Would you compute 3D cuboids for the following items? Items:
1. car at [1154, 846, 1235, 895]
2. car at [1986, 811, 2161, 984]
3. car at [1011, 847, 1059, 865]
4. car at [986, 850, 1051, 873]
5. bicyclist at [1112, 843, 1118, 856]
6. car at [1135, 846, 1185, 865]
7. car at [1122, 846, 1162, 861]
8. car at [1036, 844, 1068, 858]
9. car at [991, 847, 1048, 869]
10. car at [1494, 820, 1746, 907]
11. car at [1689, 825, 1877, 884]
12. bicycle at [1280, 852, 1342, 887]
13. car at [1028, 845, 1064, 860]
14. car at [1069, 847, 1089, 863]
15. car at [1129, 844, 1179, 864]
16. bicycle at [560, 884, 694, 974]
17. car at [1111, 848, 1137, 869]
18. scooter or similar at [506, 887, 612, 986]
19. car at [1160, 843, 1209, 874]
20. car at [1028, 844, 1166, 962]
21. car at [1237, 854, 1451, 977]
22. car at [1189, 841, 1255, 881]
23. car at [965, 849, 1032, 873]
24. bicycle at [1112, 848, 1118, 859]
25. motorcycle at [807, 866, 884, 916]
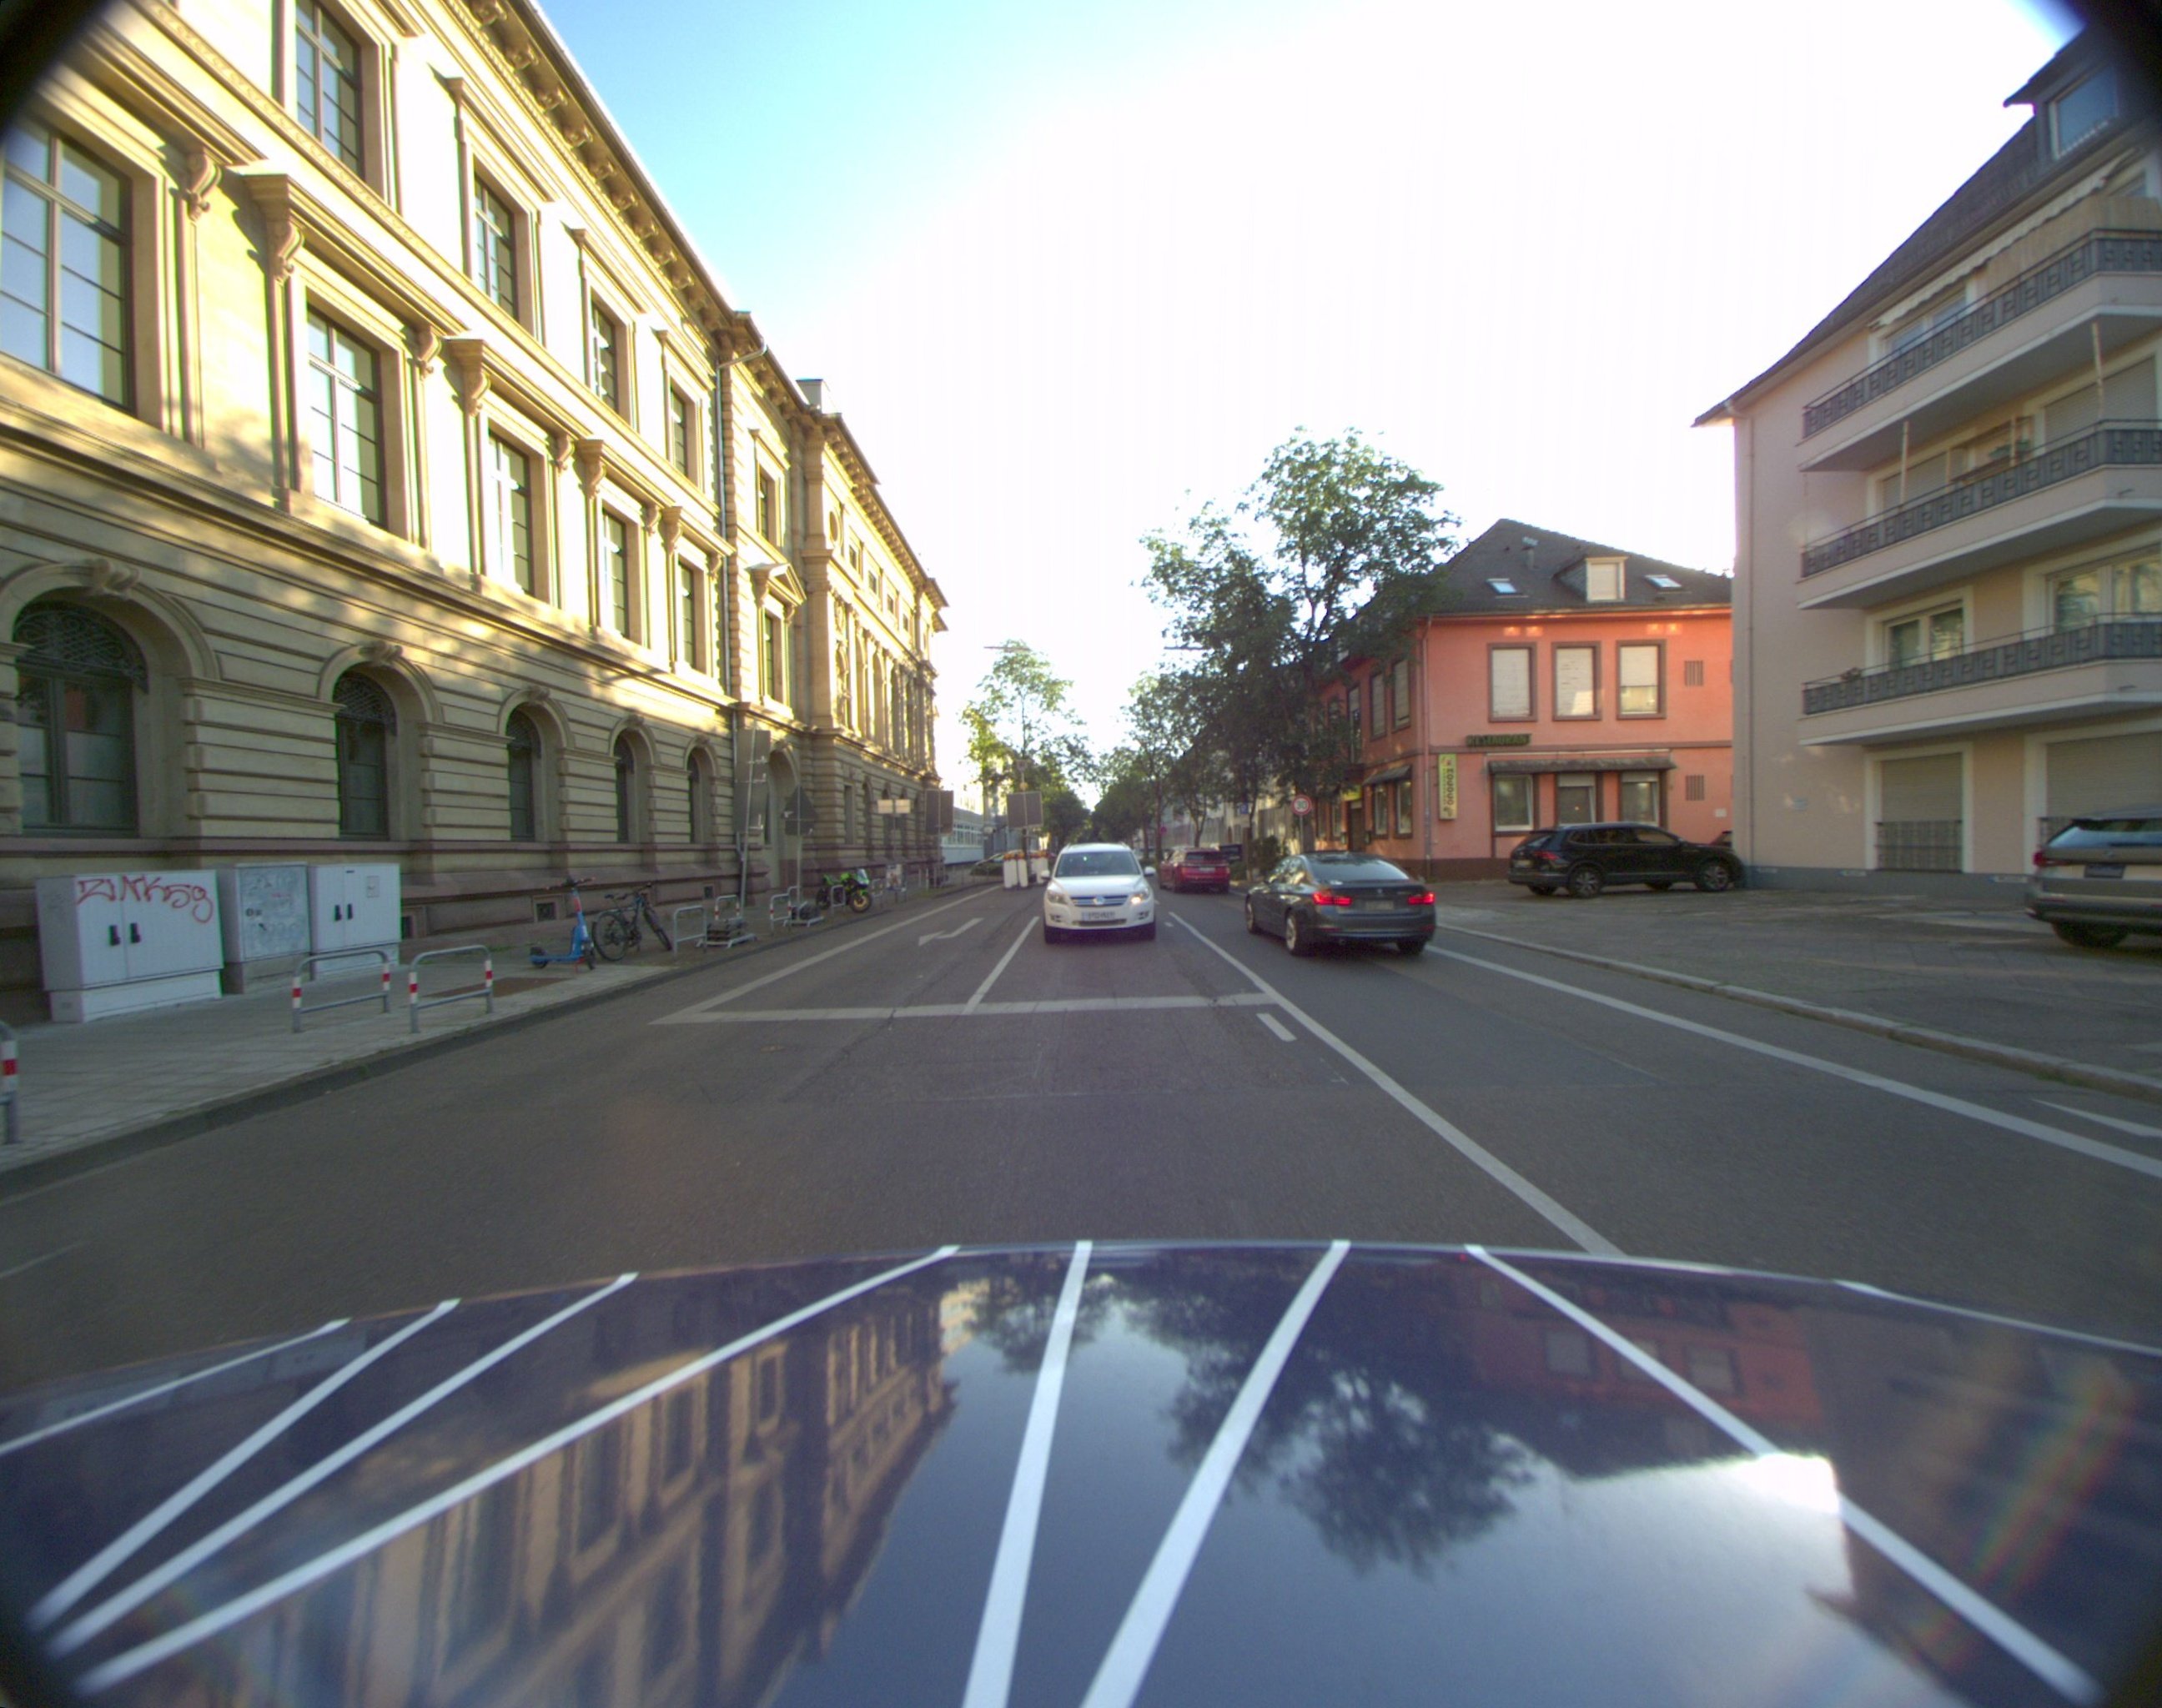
[{"bbox_3d":[3.861,0.525,26.622,1.836,1.536,4.845,0,0,-3],"label":"car"},{"bbox_3d":[12.425,0.308,7.615,4.429,1.596,1.916,-3,1,-1],"label":"car"},{"bbox_3d":[-4.269,0.169,70.466,4.369,1.615,1.733,1,1,-2],"label":"car"},{"bbox_3d":[-4.347,0.542,53.081,4.368,1.487,1.672,1,1,0],"label":"car"},{"bbox_3d":[3.660,-0.467,81.829,0.626,1.357,0.929,-1,3,1],"label":"bicyclist"},{"bbox_3d":[6.817,0.090,65.644,4.228,1.537,1.801,-1,1,3],"label":"car"},{"bbox_3d":[6.929,-0.077,86.562,4.230,1.499,1.800,-1,1,-2],"label":"car"},{"bbox_3d":[-4.062,-0.391,105.021,4.369,1.863,1.733,0,1,-2],"label":"car"},{"bbox_3d":[-4.776,0.333,59.547,4.369,1.633,2.054,1,1,-2],"label":"car"},{"bbox_3d":[12.248,0.203,17.482,4.429,1.656,1.863,-3,1,-1],"label":"car"},{"bbox_3d":[20.526,-0.002,22.330,3.809,1.547,1.886,-2,1,-2],"label":"car"},{"bbox_3d":[7.674,0.504,25.344,1.872,1.098,0.610,-2,1,-6],"label":"bicycle"},{"bbox_3d":[-4.282,-0.185,93.383,4.369,1.768,1.733,0,1,-2],"label":"car"},{"bbox_3d":[-0.206,0.082,76.531,1.951,1.546,3.999,-1,1,-1],"label":"car"},{"bbox_3d":[6.521,0.004,68.380,4.230,1.680,1.800,-1,1,-2],"label":"car"},{"bbox_3d":[-6.797,1.083,11.511,0.829,1.128,1.944,1,1,1],"label":"bicycle"},{"bbox_3d":[3.162,0.326,56.522,1.662,1.463,3.853,-1,0,-1],"label":"car"},{"bbox_3d":[-6.914,1.067,10.080,1.131,1.188,0.584,1,2,19],"label":"scooter or similar"},{"bbox_3d":[6.312,0.254,46.907,1.833,1.659,4.653,-5,1,-5],"label":"car"},{"bbox_3d":[0.267,0.680,13.247,1.957,1.667,4.542,-1,1,1],"label":"car"},{"bbox_3d":[3.735,0.765,11.701,1.786,1.451,4.422,-1,1,0],"label":"car"},{"bbox_3d":[7.019,0.292,38.472,1.833,1.749,5.045,-5,1,-5],"label":"car"},{"bbox_3d":[-5.434,0.467,50.459,4.369,1.456,1.833,1,1,-3],"label":"car"},{"bbox_3d":[3.680,-0.056,81.950,0.626,1.149,2.052,-1,2,1],"label":"bicycle"},{"bbox_3d":[-6.249,0.952,20.151,2.098,1.208,0.711,1,2,30],"label":"motorcycle"}]
